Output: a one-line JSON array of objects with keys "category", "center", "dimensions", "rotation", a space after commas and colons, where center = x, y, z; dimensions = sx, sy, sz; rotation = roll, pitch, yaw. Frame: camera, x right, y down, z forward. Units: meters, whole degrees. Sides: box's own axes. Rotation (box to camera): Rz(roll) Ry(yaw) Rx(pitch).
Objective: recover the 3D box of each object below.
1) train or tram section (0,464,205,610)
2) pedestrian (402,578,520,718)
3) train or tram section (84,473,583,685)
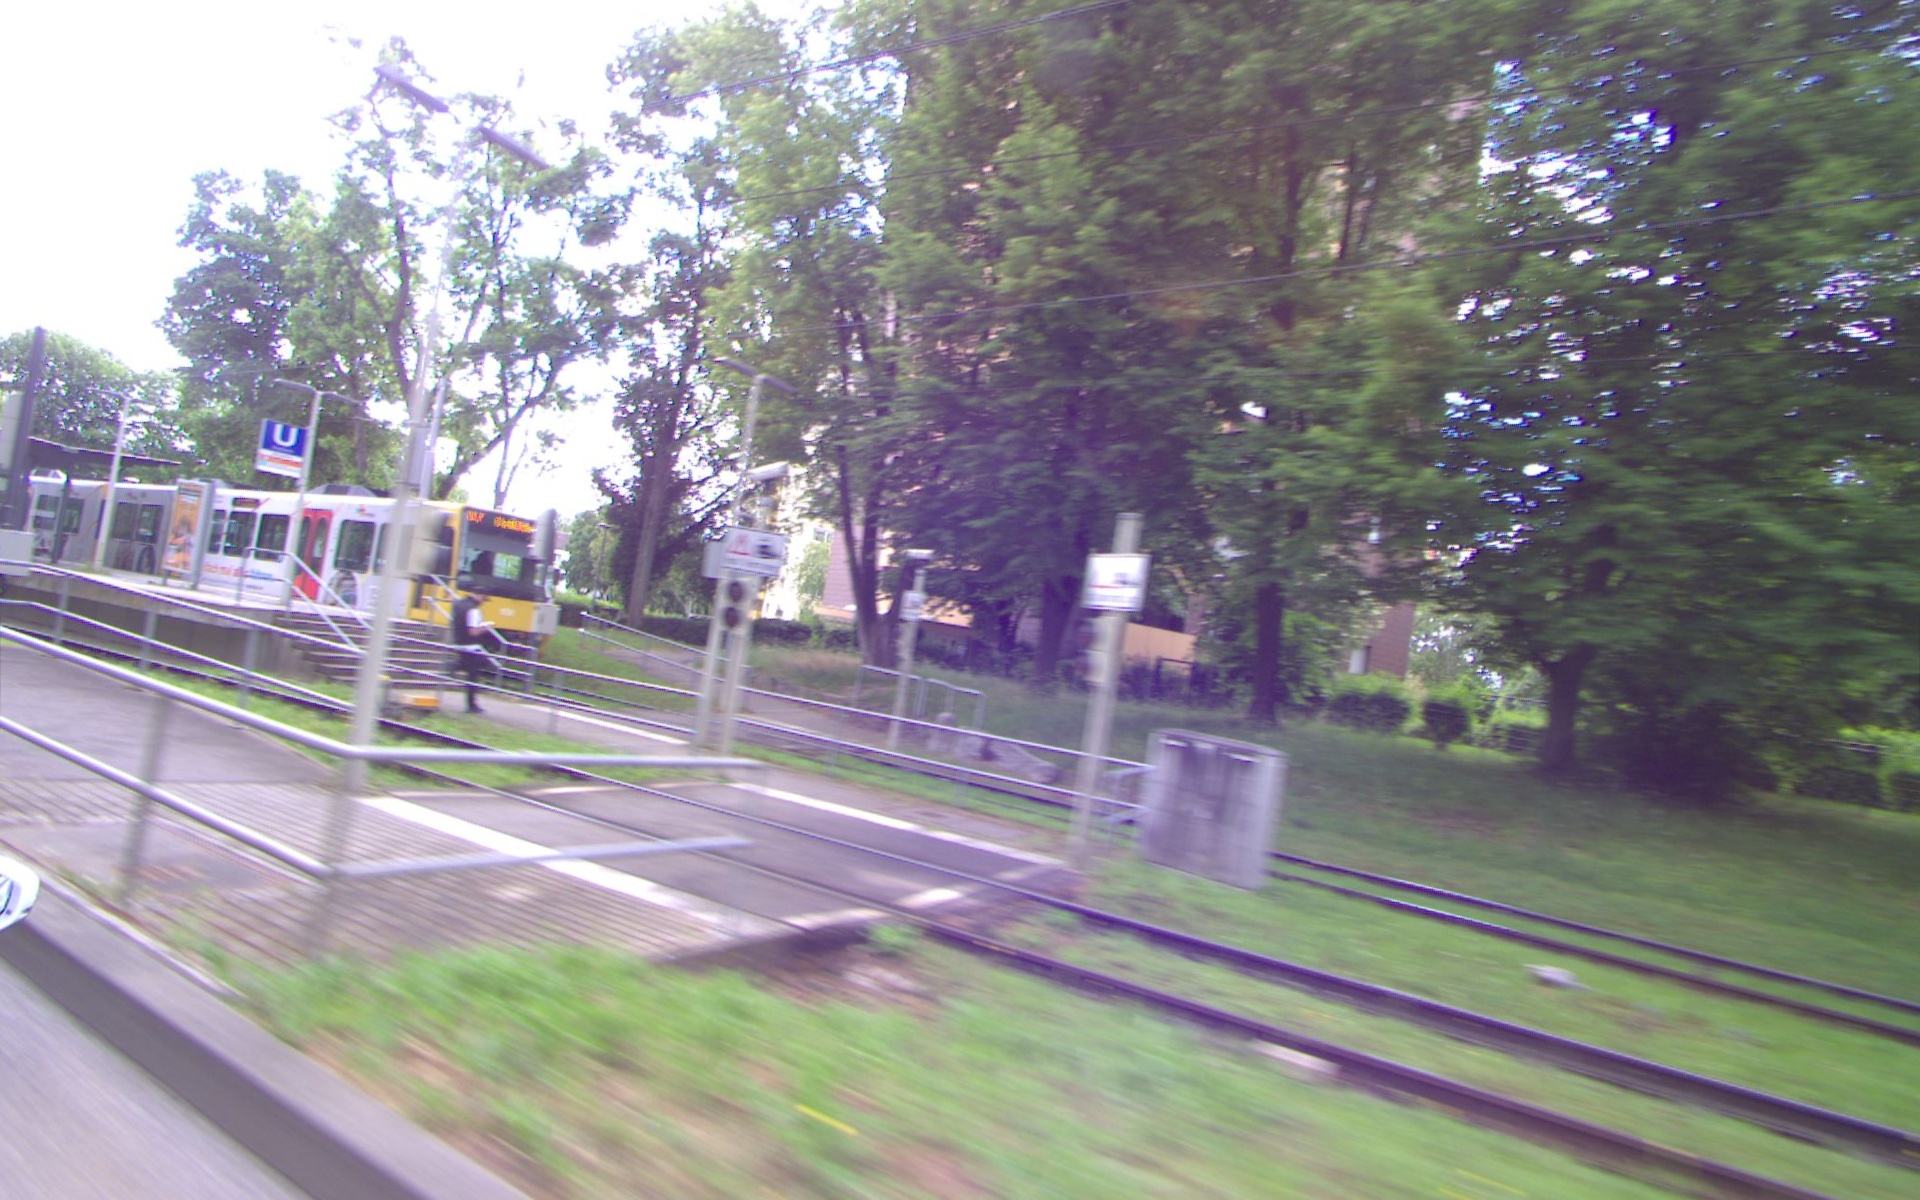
[{"category": "train or tram section", "center": [-33.031, -2.587, 35.241], "dimensions": [18.609, 3.839, 2.823], "rotation": [6, -4, 29]}, {"category": "pedestrian", "center": [-6.874, 0.687, 13.903], "dimensions": [0.716, 1.777, 0.988], "rotation": [8, -3, 22]}, {"category": "train or tram section", "center": [-17.007, -0.940, 25.870], "dimensions": [18.228, 3.776, 2.821], "rotation": [6, -4, 32]}]
